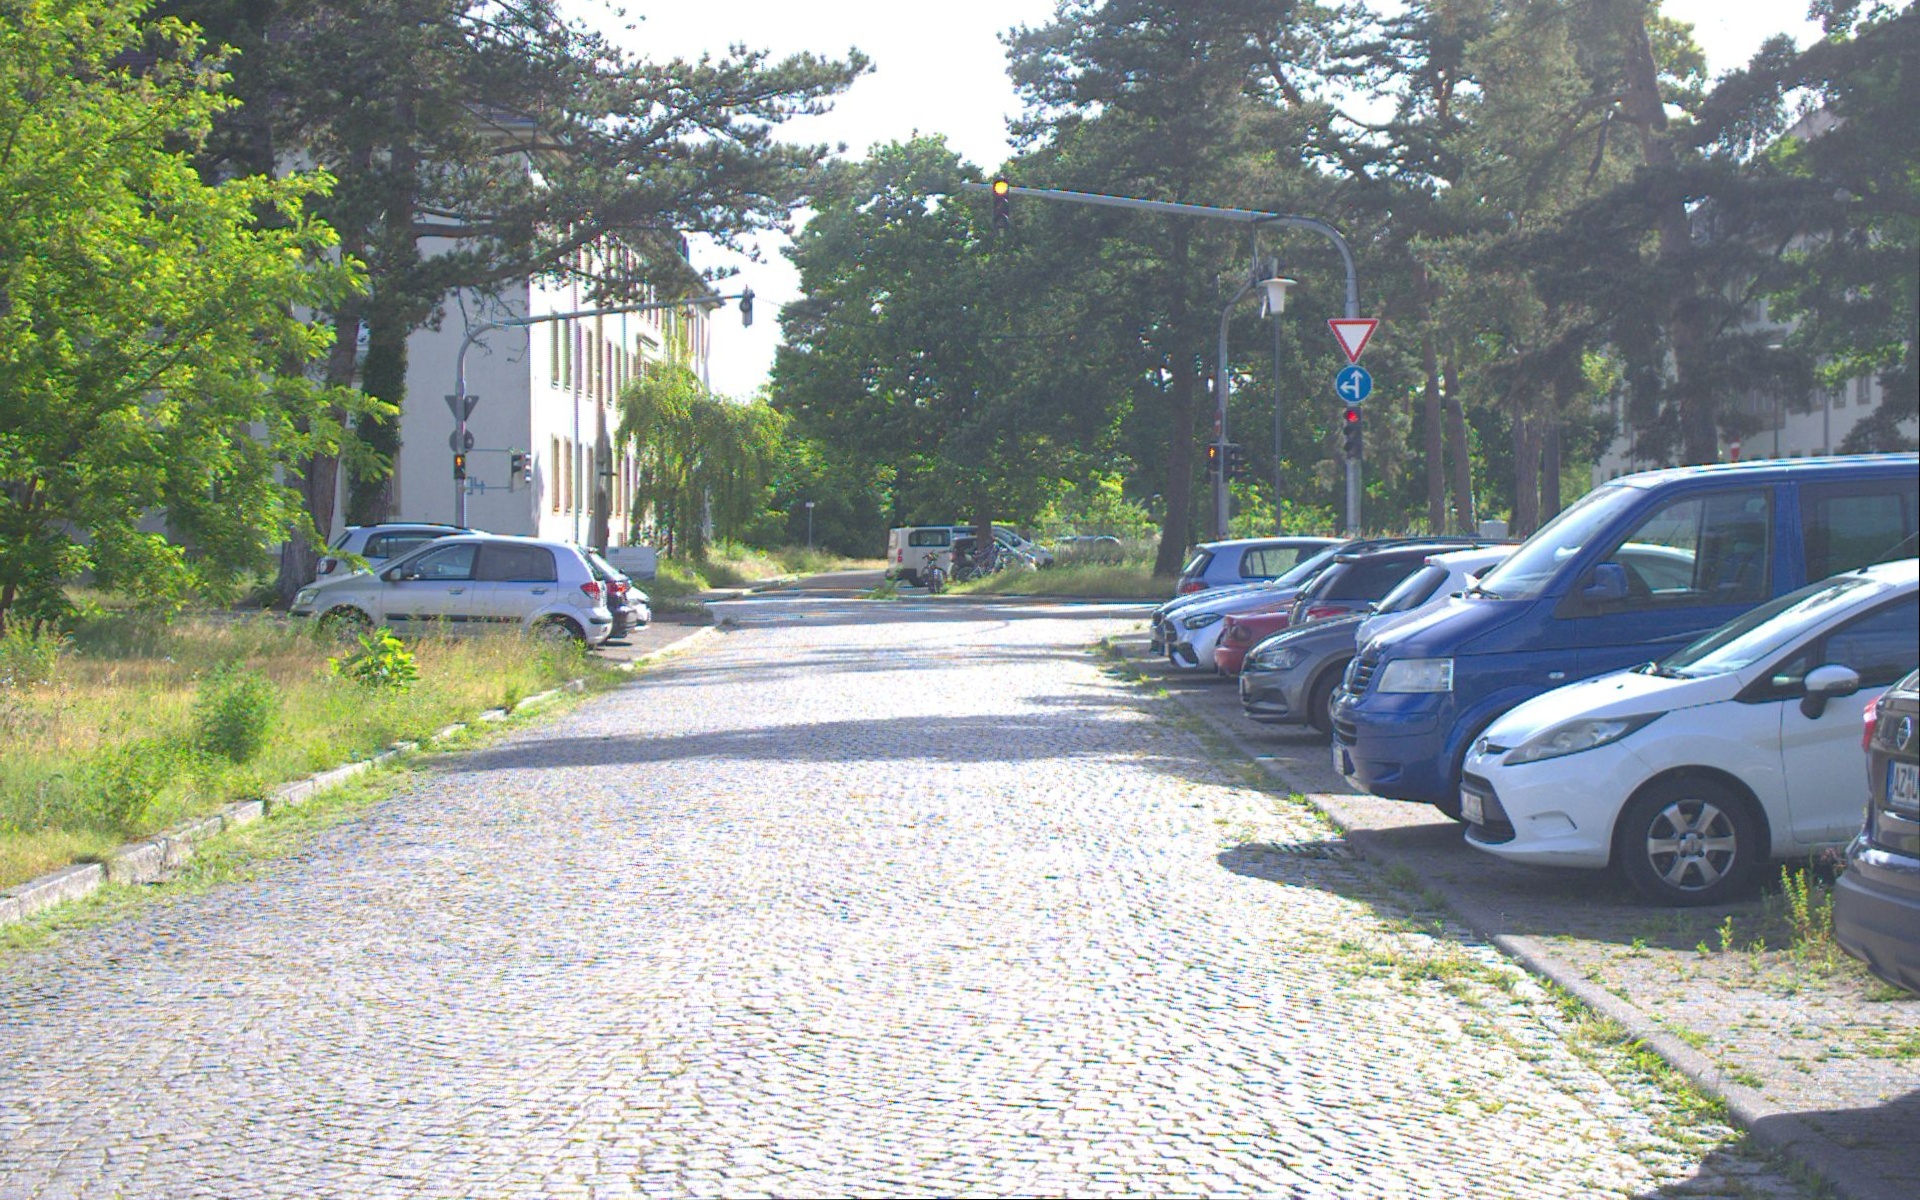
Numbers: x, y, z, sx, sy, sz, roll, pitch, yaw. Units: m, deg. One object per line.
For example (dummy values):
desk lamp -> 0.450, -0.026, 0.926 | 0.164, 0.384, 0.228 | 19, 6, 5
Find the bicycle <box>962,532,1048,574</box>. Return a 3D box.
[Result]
bicycle -> 1.205, -1.250, 92.052 | 2.172, 1.096, 0.807 | 0, 1, -10

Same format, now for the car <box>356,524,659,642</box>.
car -> -6.384, -0.259, 48.819 | 3.987, 1.448, 2.000 | 3, 1, -1

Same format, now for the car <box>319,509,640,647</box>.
car -> -6.438, -0.309, 46.417 | 3.987, 1.596, 2.000 | 3, 1, -1

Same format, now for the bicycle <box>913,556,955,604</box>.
bicycle -> -0.665, -0.519, 87.326 | 0.804, 1.165, 2.181 | -2, 1, -6

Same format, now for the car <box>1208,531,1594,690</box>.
car -> 4.355, 0.083, 34.285 | 3.602, 1.524, 1.646 | 0, 1, -1

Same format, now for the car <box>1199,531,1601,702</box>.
car -> 4.030, 0.136, 31.826 | 3.478, 1.524, 1.646 | 0, 1, -1

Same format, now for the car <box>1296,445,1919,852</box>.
car -> 4.257, 0.211, 18.147 | 4.676, 2.007, 2.084 | 0, 1, -3

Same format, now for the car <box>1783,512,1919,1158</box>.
car -> 4.358, 0.572, 9.054 | 3.935, 1.616, 1.772 | 0, 1, -1

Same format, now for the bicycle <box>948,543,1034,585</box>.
bicycle -> 0.814, -0.957, 90.775 | 2.172, 1.096, 0.807 | 0, 1, -10

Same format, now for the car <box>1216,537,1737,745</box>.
car -> 3.881, 0.288, 26.217 | 3.675, 1.462, 1.645 | -1, 1, -1

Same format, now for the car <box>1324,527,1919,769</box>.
car -> 4.419, 0.300, 23.327 | 3.694, 1.460, 1.645 | -2, 1, 1

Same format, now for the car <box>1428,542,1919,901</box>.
car -> 4.108, 0.491, 15.473 | 3.719, 1.483, 1.646 | -1, 1, -2

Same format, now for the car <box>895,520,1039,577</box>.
car -> 0.193, -1.633, 108.241 | 4.480, 1.722, 2.000 | 0, 1, -1

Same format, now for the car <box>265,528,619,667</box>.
car -> -6.120, -0.053, 41.030 | 3.986, 1.595, 2.000 | 0, 1, -3

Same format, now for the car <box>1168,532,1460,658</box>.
car -> 4.269, -0.075, 41.775 | 3.343, 1.477, 1.646 | 0, 1, -1

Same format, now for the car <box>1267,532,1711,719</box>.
car -> 4.430, 0.194, 29.133 | 3.478, 1.524, 1.646 | 0, 1, -1

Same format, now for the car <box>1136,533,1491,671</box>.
car -> 3.984, 0.004, 39.136 | 3.835, 1.524, 1.646 | 0, 1, -1

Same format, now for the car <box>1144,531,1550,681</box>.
car -> 4.055, 0.040, 36.365 | 4.033, 1.524, 1.646 | 0, 1, -4
